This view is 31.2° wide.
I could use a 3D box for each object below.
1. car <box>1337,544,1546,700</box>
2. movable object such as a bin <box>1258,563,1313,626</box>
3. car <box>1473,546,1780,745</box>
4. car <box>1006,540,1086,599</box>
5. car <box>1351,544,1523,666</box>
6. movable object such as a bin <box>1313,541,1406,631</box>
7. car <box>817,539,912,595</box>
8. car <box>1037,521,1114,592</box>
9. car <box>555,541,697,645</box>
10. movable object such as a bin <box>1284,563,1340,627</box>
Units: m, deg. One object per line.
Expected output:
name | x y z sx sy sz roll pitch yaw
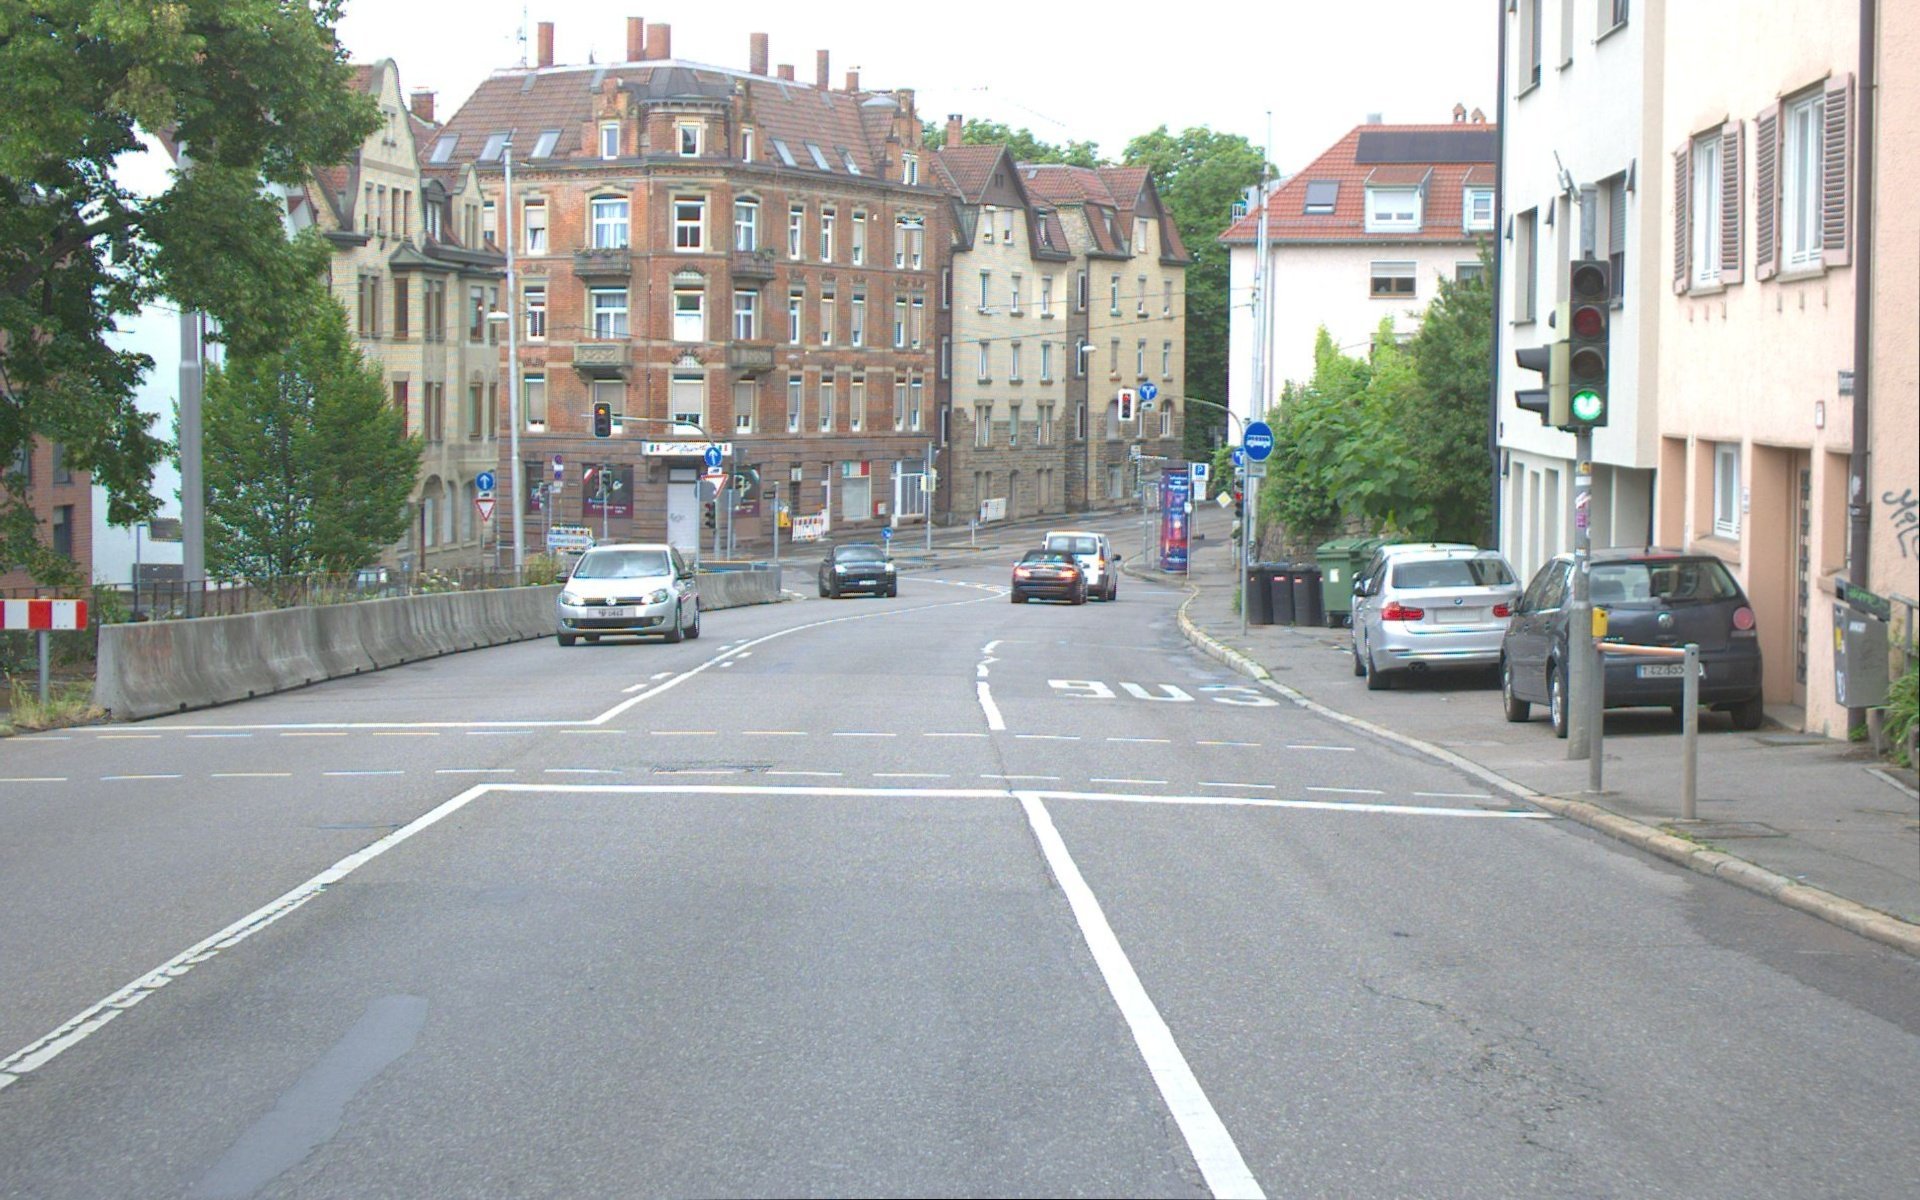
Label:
car | 5.146 0.187 37.275 1.794 1.446 4.718 -3 2 3
movable object such as a bin | 5.544 -0.091 58.559 0.742 1.055 0.679 1 0 -15
car | 5.427 0.332 28.451 1.681 1.446 4.000 -3 1 0
car | 2.249 -0.802 88.633 1.817 1.425 4.000 2 1 4
car | 5.852 0.027 42.580 1.794 1.418 4.004 -1 1 4
movable object such as a bin | 6.492 -0.237 55.946 1.047 1.440 1.419 1 0 -15
car | -2.797 -0.993 101.443 1.983 1.569 4.373 -1 1 9
car | 3.219 -1.210 95.340 1.909 1.877 3.999 2 1 4
car | -4.867 -0.138 50.582 1.720 1.440 4.159 0 1 -1
movable object such as a bin | 5.913 -0.083 57.748 0.742 1.055 0.679 1 0 -15
